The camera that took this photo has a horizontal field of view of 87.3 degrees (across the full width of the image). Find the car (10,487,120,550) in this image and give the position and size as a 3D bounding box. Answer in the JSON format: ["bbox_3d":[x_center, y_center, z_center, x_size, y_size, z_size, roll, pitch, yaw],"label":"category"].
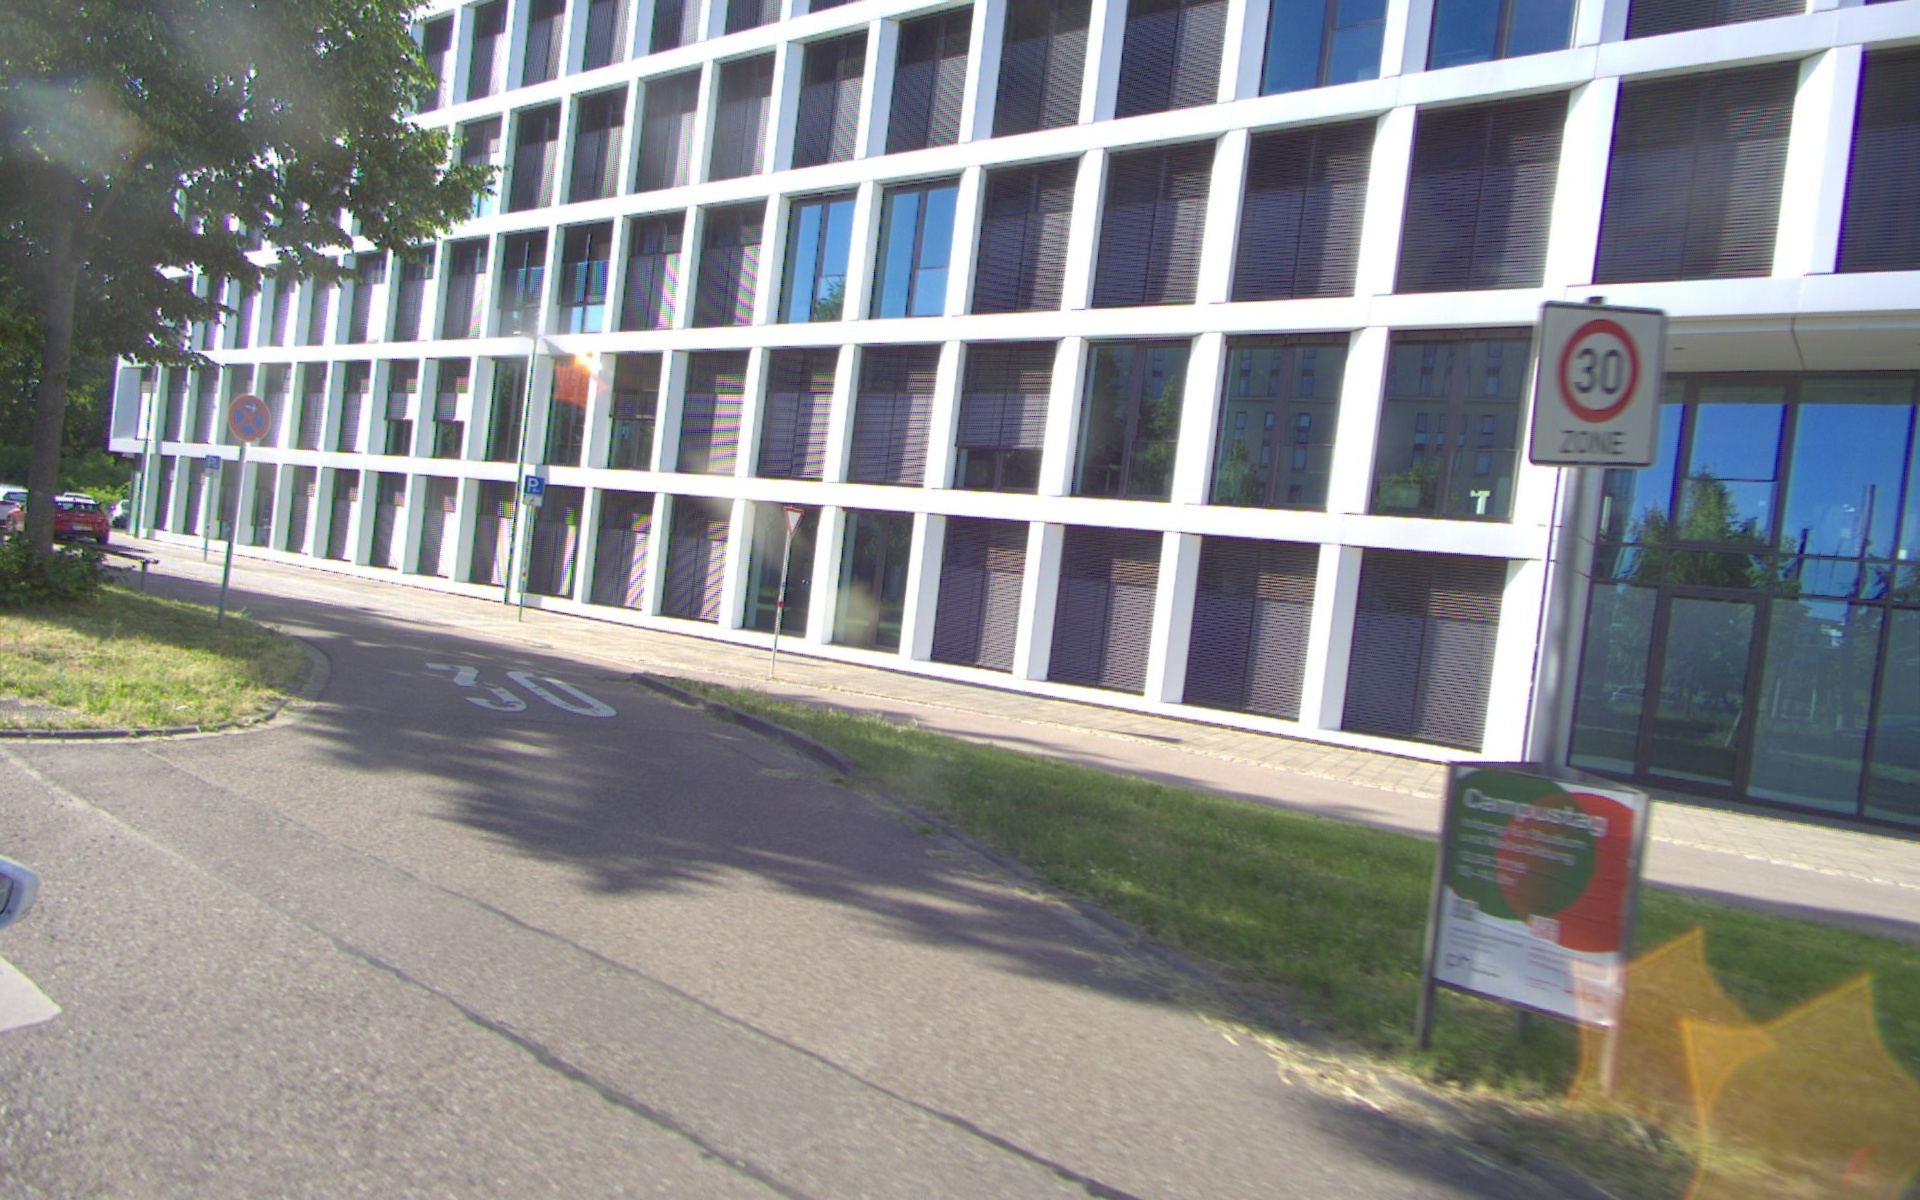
[{"bbox_3d":[-30.200,-2.763,33.919,3.839,1.631,1.759,7,0,33],"label":"car"}]

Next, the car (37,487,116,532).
[{"bbox_3d":[-46.158,-4.749,52.548,3.935,1.838,1.996,7,0,33],"label":"car"}]

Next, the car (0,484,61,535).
[{"bbox_3d":[-34.403,-3.364,36.558,3.383,1.551,1.820,7,0,35],"label":"car"}]
